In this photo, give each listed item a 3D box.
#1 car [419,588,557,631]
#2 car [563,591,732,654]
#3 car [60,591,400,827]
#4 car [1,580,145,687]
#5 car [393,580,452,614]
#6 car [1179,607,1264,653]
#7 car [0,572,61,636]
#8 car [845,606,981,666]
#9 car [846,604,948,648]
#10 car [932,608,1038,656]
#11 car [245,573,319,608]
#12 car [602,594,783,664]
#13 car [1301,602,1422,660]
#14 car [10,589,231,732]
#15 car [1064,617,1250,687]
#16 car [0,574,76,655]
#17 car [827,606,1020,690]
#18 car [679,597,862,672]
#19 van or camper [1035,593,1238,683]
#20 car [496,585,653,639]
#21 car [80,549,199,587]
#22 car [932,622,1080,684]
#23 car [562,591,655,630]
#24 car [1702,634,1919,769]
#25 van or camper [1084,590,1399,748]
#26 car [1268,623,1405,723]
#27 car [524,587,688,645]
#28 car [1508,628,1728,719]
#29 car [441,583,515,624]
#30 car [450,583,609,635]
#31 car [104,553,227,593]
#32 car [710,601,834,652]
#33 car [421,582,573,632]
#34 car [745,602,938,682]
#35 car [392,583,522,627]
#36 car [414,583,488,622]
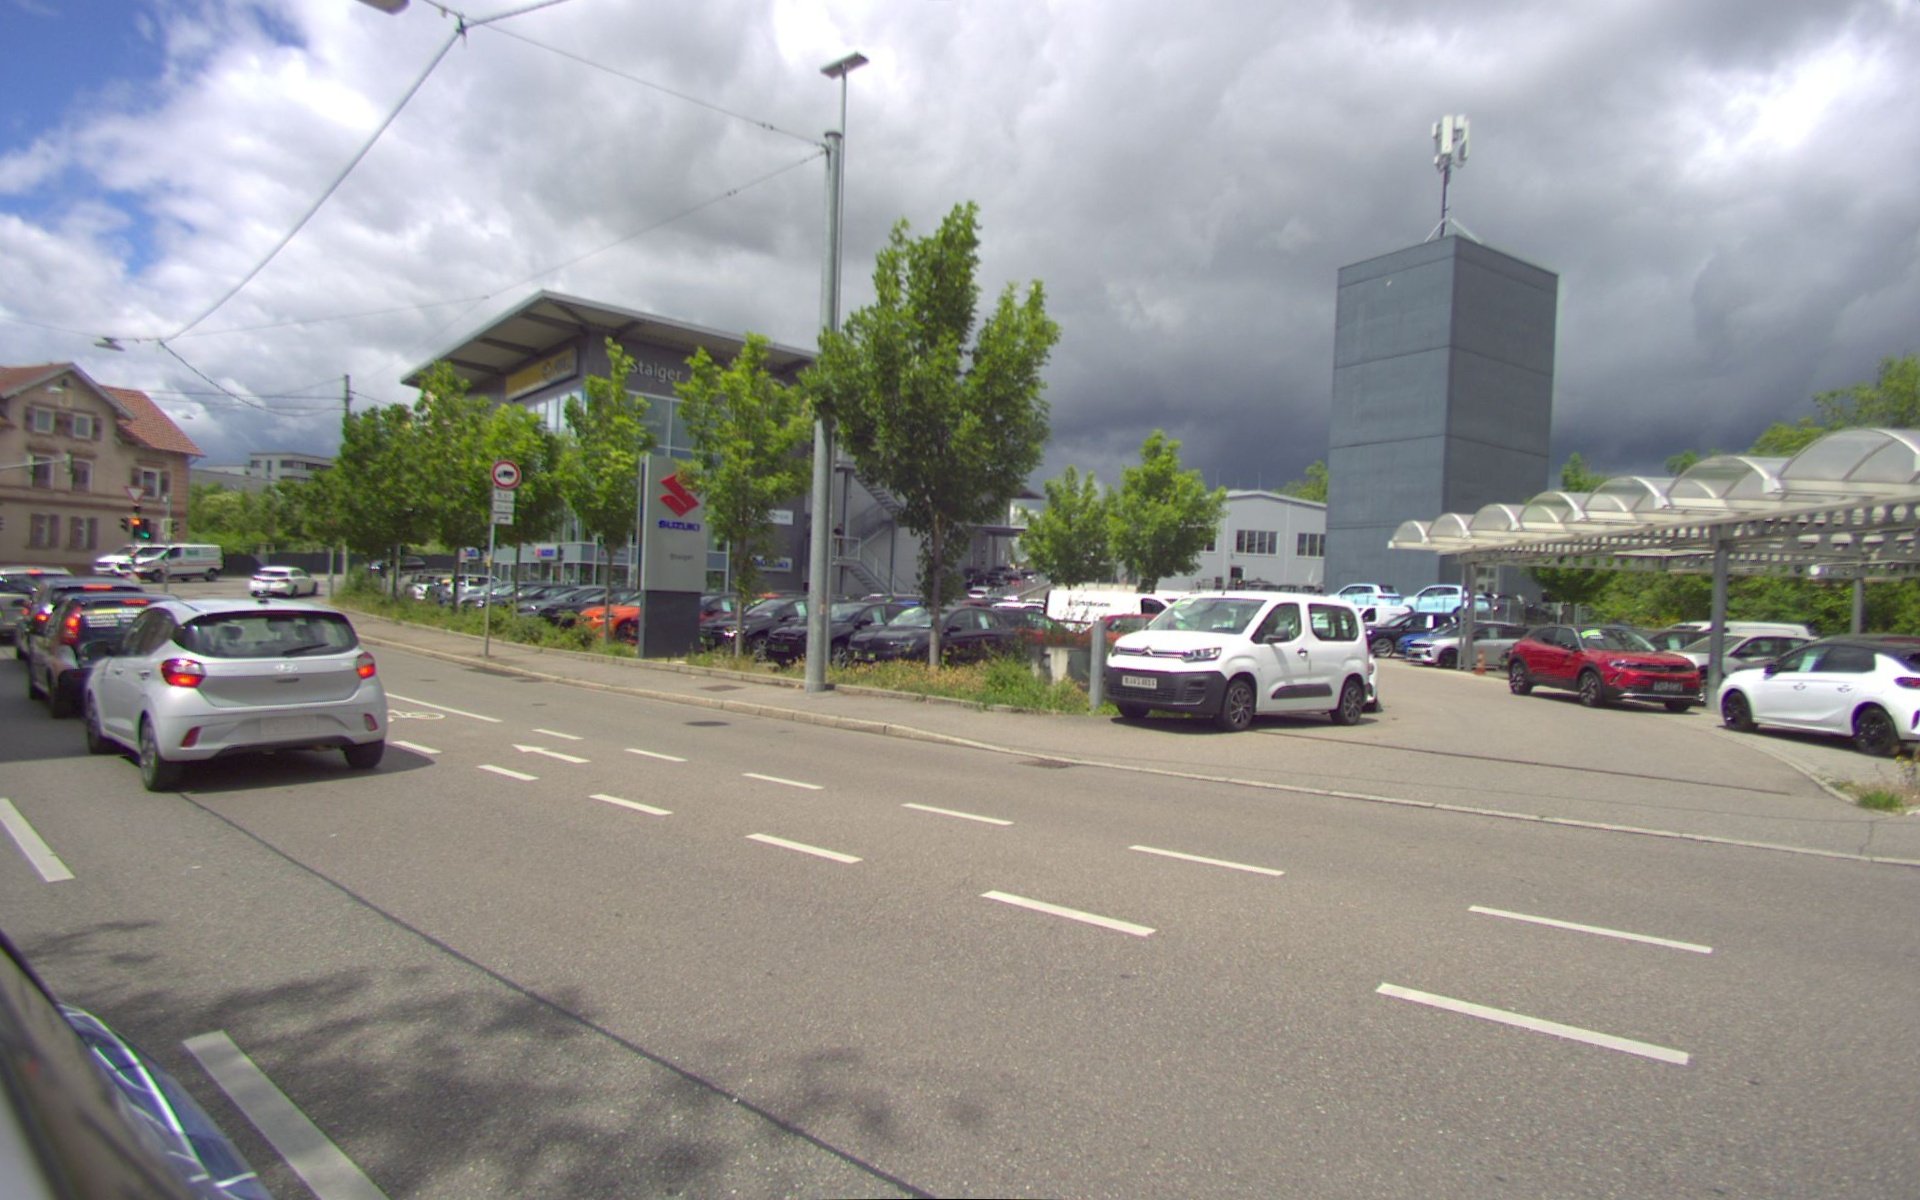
[{"bbox_3d":[-16.693,0.361,35.905,4.019,1.405,1.814,3,-2,-44],"label":"car"},{"bbox_3d":[-8.072,0.600,26.341,1.812,1.509,3.785,1,-1,42],"label":"car"},{"bbox_3d":[-6.837,0.775,9.320,3.999,1.593,1.701,3,2,41],"label":"car"},{"bbox_3d":[-15.780,0.486,17.934,1.699,1.593,4.254,-1,3,-44],"label":"car"},{"bbox_3d":[-26.501,-0.180,49.834,1.917,1.485,4.316,0,2,-37],"label":"car"},{"bbox_3d":[12.235,1.336,47.263,3.938,1.824,2.003,-2,4,-41],"label":"car"},{"bbox_3d":[-25.808,0.054,27.634,1.699,1.593,4.003,-1,3,-44],"label":"car"},{"bbox_3d":[-1.126,0.887,25.307,1.517,1.384,3.280,1,-1,42],"label":"car"},{"bbox_3d":[-2.086,0.880,34.094,1.517,1.384,3.280,1,-1,42],"label":"car"},{"bbox_3d":[0.820,1.000,31.601,1.517,1.384,3.280,1,-1,42],"label":"car"},{"bbox_3d":[-32.656,-0.467,48.874,1.695,1.508,4.477,4,0,-17],"label":"car"},{"bbox_3d":[-6.328,0.693,24.256,1.812,1.509,3.808,1,-1,41],"label":"car"},{"bbox_3d":[16.200,1.203,40.804,4.754,2.028,2.006,-1,3,-31],"label":"car"},{"bbox_3d":[-10.899,0.660,13.081,3.322,1.495,1.701,3,2,41],"label":"car"},{"bbox_3d":[4.015,1.032,20.910,3.473,1.263,1.524,1,-1,41],"label":"car"},{"bbox_3d":[-20.802,0.251,22.354,1.699,1.593,4.322,-1,3,-44],"label":"car"},{"bbox_3d":[-0.603,0.884,19.382,1.792,1.420,3.664,1,-1,36],"label":"car"},{"bbox_3d":[-4.195,0.767,22.863,1.811,1.509,3.776,1,-1,39],"label":"car"},{"bbox_3d":[4.346,0.878,25.373,4.685,2.029,1.972,1,-1,42],"label":"van or camper"},{"bbox_3d":[-11.565,0.383,30.512,1.812,1.509,4.011,1,-1,42],"label":"car"},{"bbox_3d":[-45.094,-1.808,55.769,1.984,2.026,4.787,1,3,19],"label":"car"},{"bbox_3d":[1.107,1.176,22.984,1.545,1.263,3.426,1,-1,42],"label":"car"},{"bbox_3d":[-13.485,0.405,38.879,1.518,1.384,2.977,1,-1,43],"label":"car"},{"bbox_3d":[12.396,1.289,13.770,1.795,1.477,3.995,2,0,4],"label":"car"},{"bbox_3d":[3.934,0.828,13.626,4.613,1.763,2.002,2,-1,-44],"label":"van or camper"},{"bbox_3d":[6.724,1.181,18.006,2.000,1.447,4.489,1,0,22],"label":"car"},{"bbox_3d":[-9.836,0.478,28.326,1.812,1.509,3.938,1,-1,42],"label":"car"},{"bbox_3d":[12.520,1.341,19.569,1.793,1.478,3.777,2,-1,1],"label":"car"},{"bbox_3d":[-20.514,0.092,42.962,1.918,1.574,4.003,-1,2,-40],"label":"car"},{"bbox_3d":[-13.503,0.312,31.911,1.812,1.509,4.232,1,-1,42],"label":"car"},{"bbox_3d":[-41.658,-1.467,53.251,1.980,2.007,4.970,1,3,13],"label":"car"},{"bbox_3d":[-5.418,0.779,29.392,1.517,1.384,3.280,1,-1,42],"label":"car"},{"bbox_3d":[-15.197,0.259,33.365,1.812,1.509,4.161,1,-1,42],"label":"car"},{"bbox_3d":[-2.370,0.844,20.971,1.772,1.472,3.794,1,-1,40],"label":"car"},{"bbox_3d":[-18.746,0.214,37.795,3.940,1.509,1.814,3,-2,-44],"label":"car"},{"bbox_3d":[-23.339,0.080,46.334,1.919,1.574,4.311,-1,2,-43],"label":"car"}]
